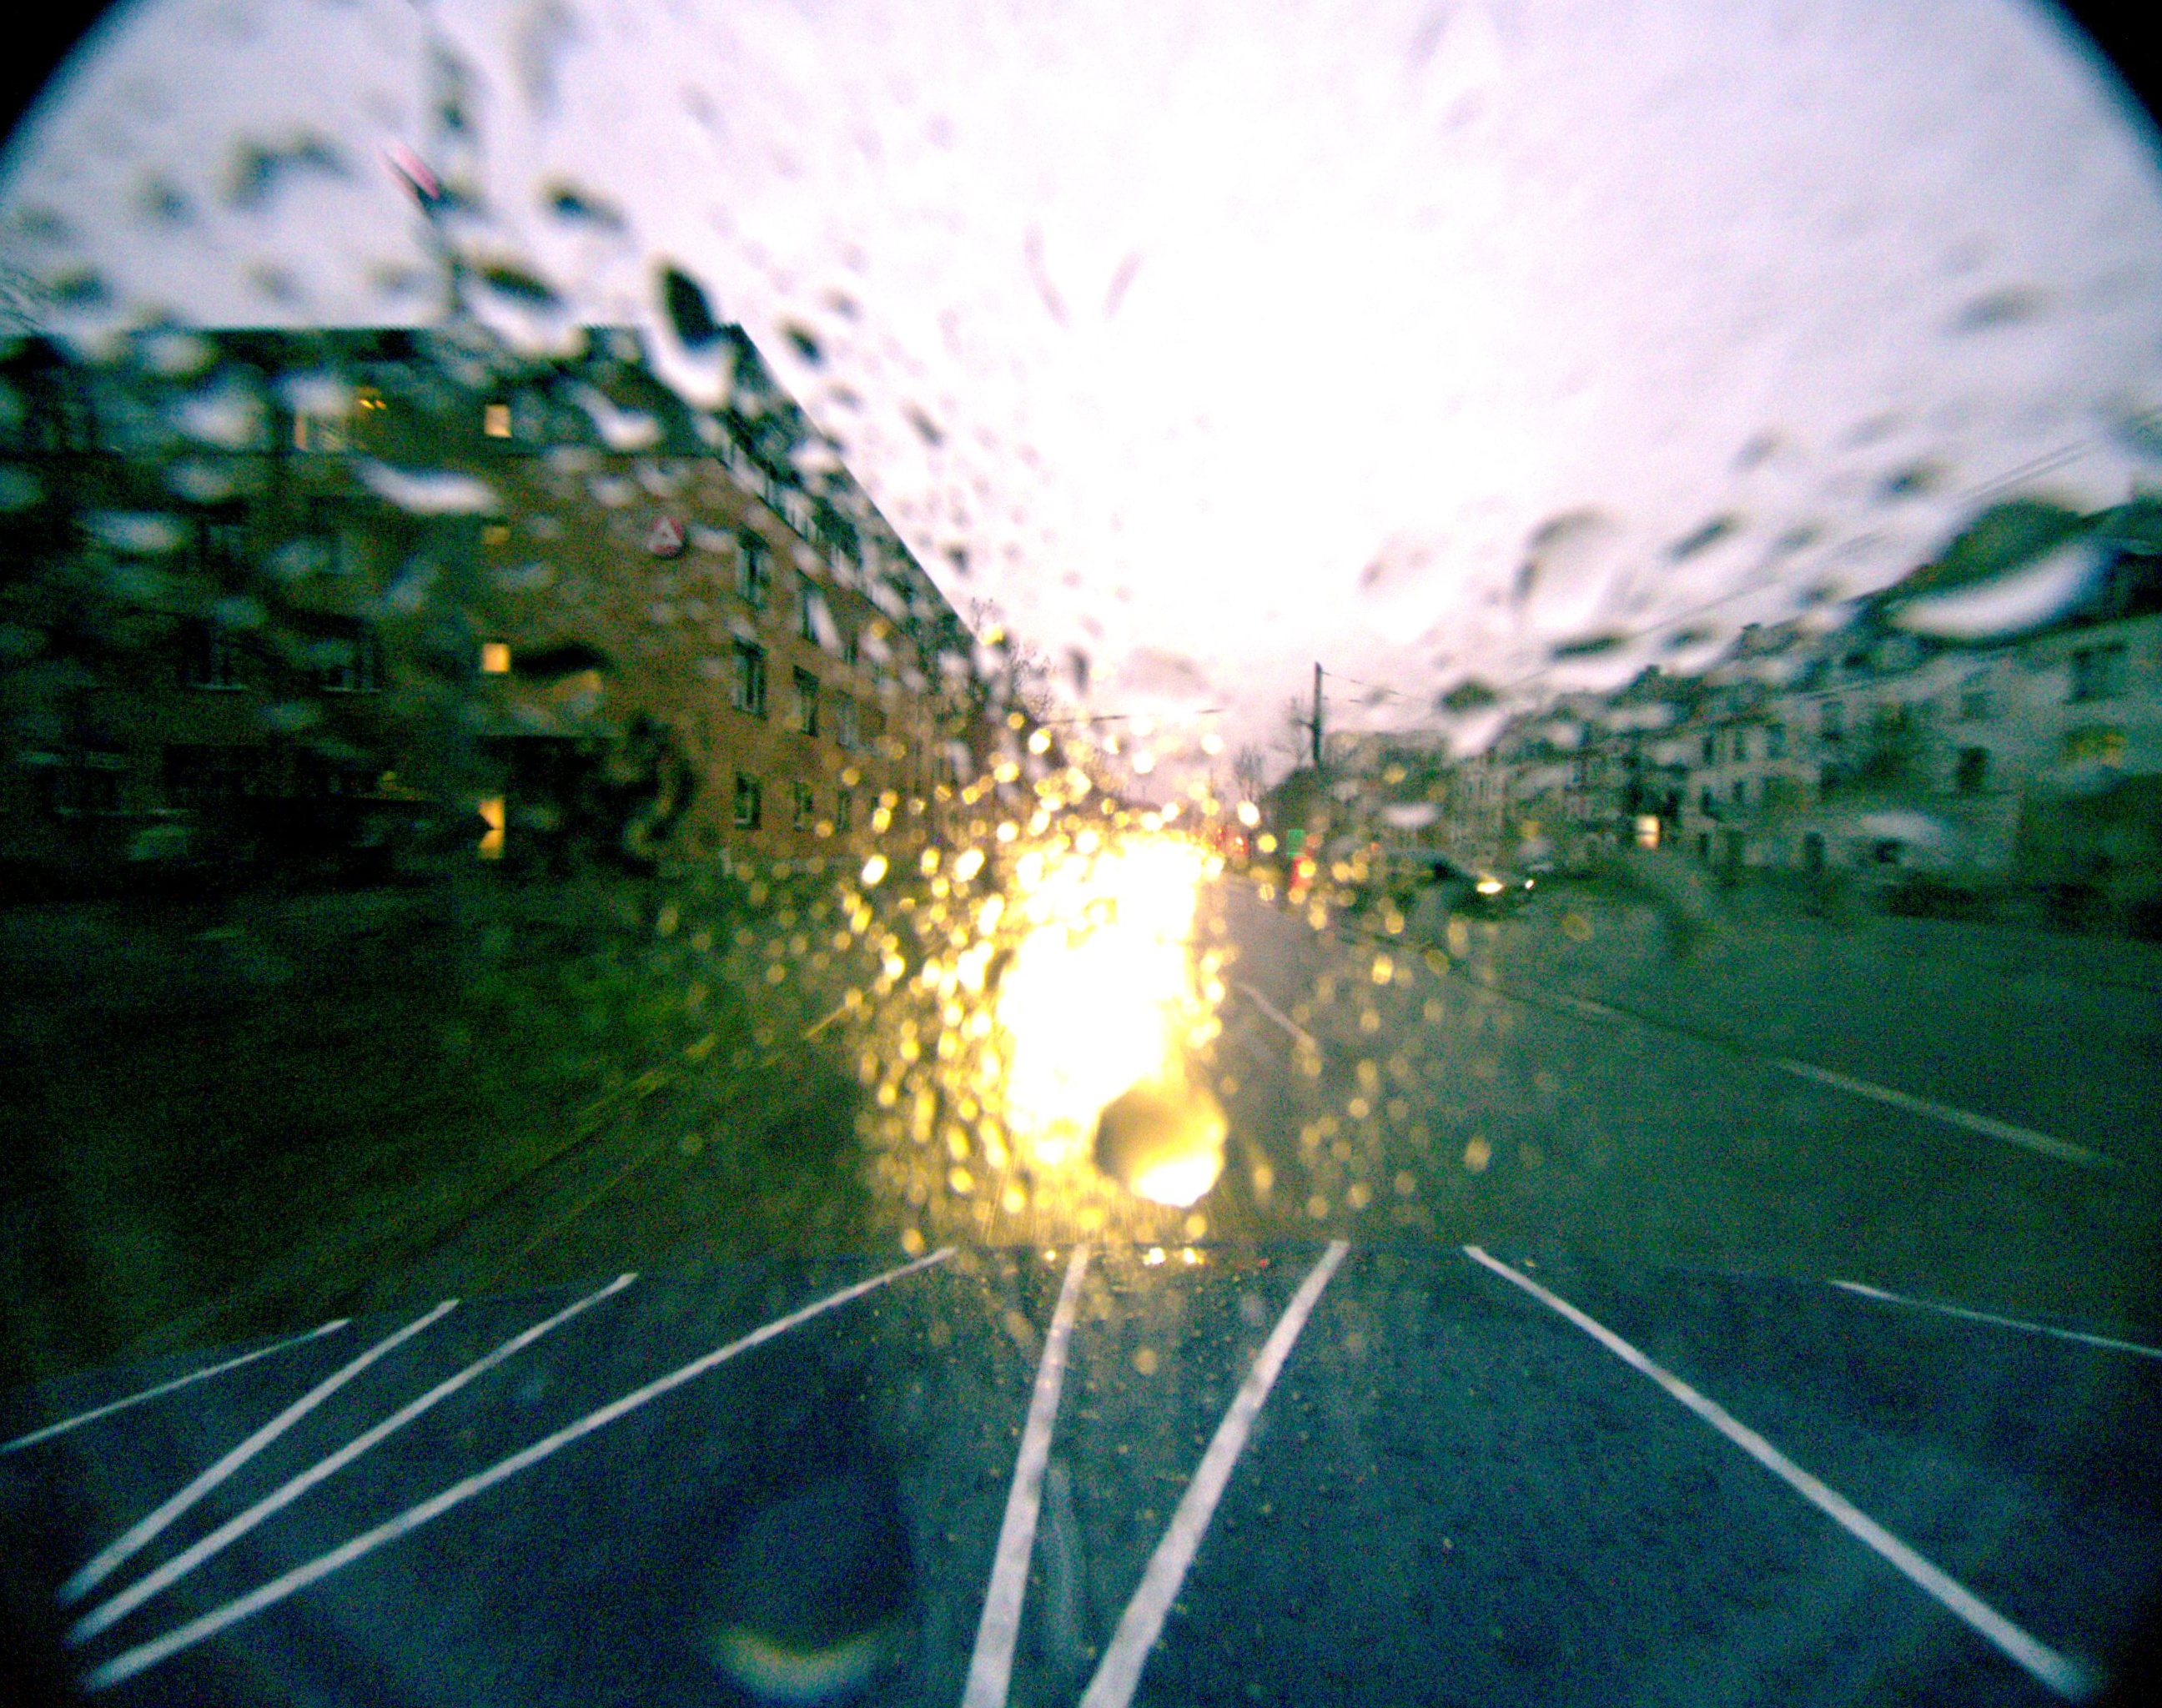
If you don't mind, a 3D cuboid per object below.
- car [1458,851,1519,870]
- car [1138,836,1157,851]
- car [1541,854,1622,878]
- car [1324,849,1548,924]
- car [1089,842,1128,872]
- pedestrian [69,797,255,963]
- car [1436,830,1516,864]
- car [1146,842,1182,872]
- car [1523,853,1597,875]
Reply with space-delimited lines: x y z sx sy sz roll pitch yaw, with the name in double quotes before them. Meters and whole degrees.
"car" 33.434 0.500 62.339 3.987 1.324 2.004 3 2 42
"car" 7.789 -1.233 89.480 1.998 1.745 4.000 2 1 4
"car" 32.048 0.759 48.692 3.987 1.324 2.004 3 2 42
"car" 8.113 0.650 17.959 1.817 1.422 4.815 0 2 -23
"car" 1.455 0.124 38.624 1.813 1.385 4.054 0 1 4
"pedestrian" -9.526 0.247 7.934 0.622 1.601 1.067 1 2 0
"car" 34.902 -0.682 67.333 2.004 2.782 5.848 0 2 -44
"car" 4.426 0.117 41.118 1.813 1.488 4.054 0 1 4
"car" 32.864 0.660 52.166 3.987 1.324 2.004 3 2 42
